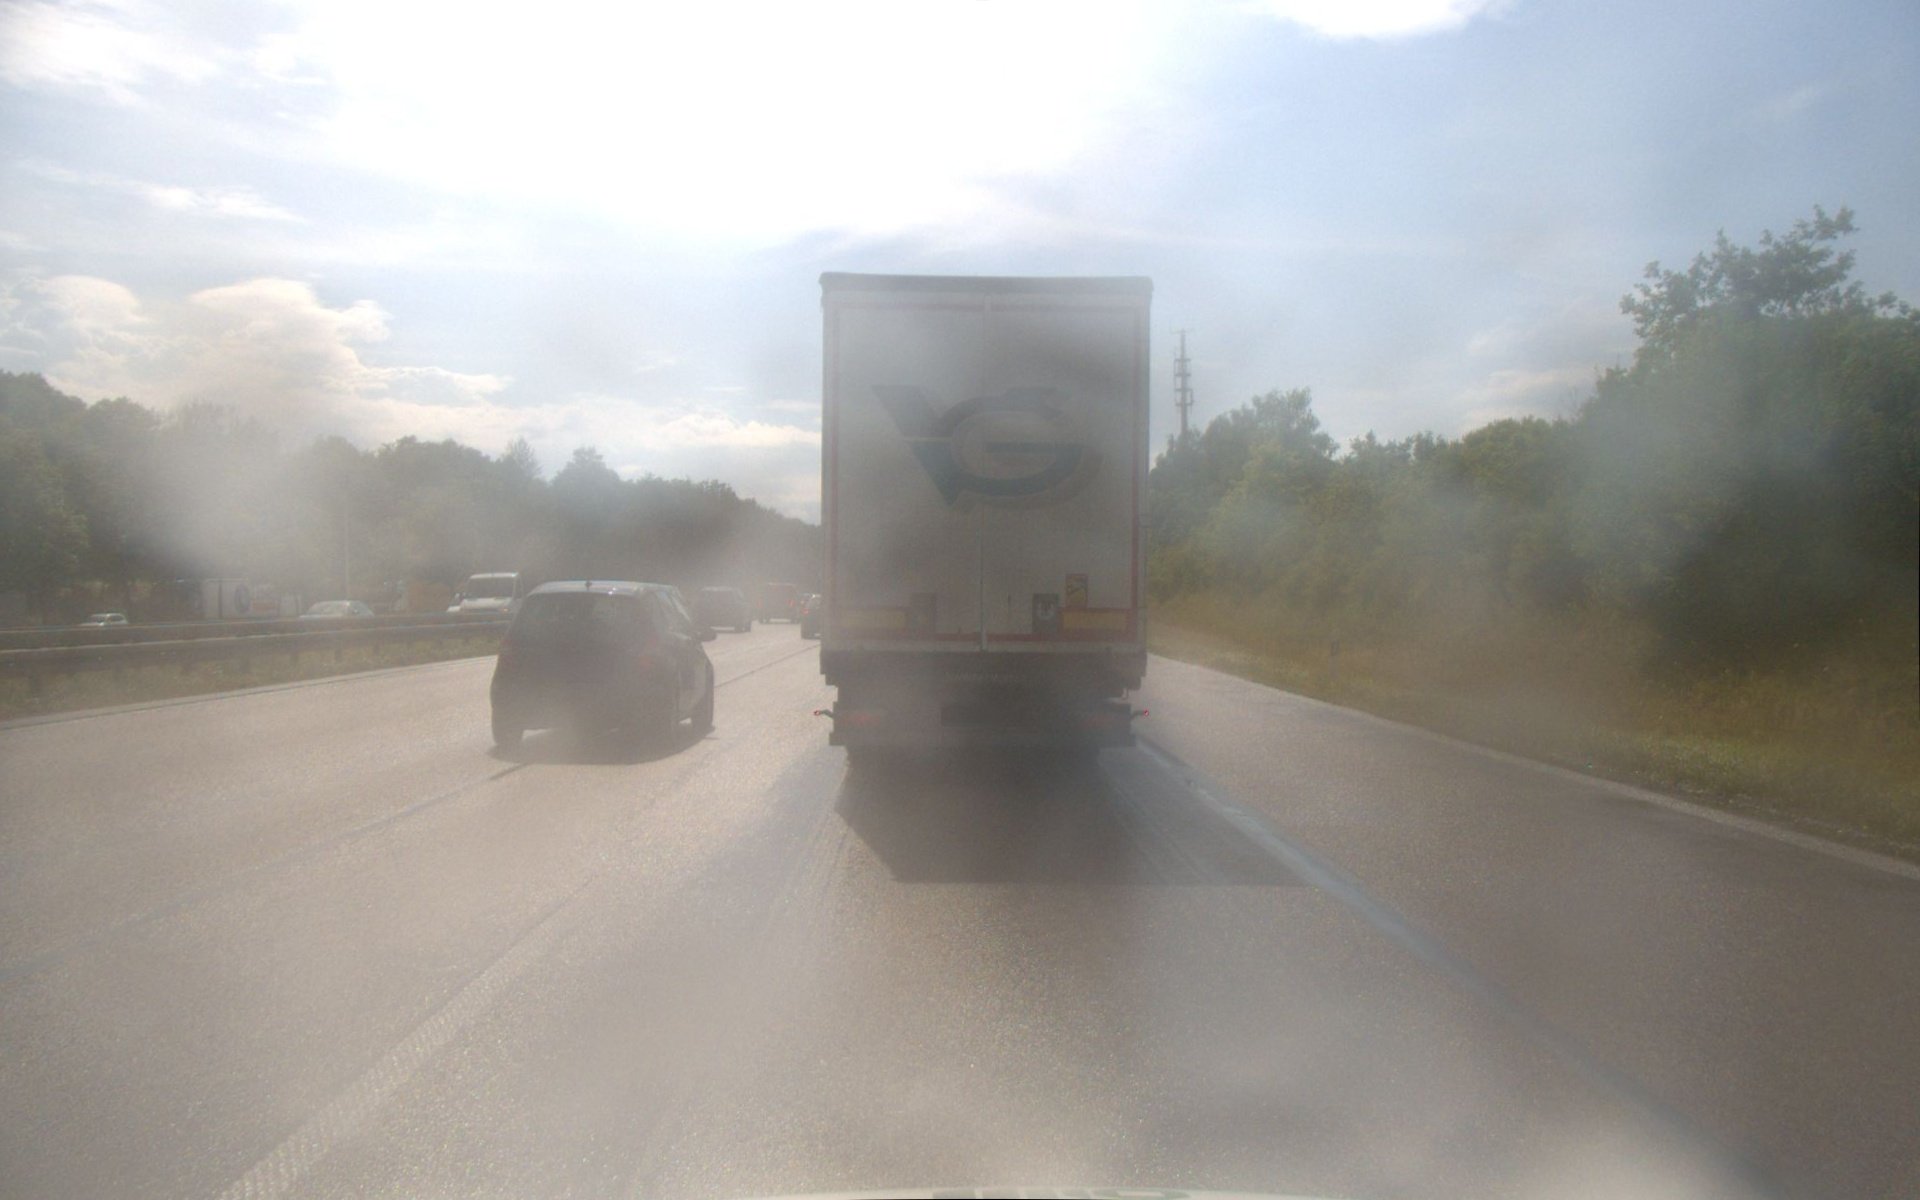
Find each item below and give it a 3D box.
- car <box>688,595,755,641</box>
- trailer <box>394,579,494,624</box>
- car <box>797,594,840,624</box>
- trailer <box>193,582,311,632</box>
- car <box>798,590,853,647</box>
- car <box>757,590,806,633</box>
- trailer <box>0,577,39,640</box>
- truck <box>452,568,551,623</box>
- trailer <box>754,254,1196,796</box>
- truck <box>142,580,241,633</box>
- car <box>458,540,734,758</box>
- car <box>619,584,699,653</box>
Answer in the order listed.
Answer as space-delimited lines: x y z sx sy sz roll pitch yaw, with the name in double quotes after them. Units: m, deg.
-9.050 0.642 63.179 1.869 1.665 4.617 -1 0 0 "car"
-49.643 0.178 159.594 3.707 4.189 11.735 1 0 13 "trailer"
-7.884 0.484 92.614 1.953 1.592 4.756 1 0 0 "car"
-55.320 0.503 129.627 3.708 3.712 10.505 -1 0 7 "trailer"
-4.575 0.616 56.597 1.658 1.836 3.974 1 0 -2 "car"
-8.947 0.562 83.232 1.938 2.090 4.756 1 0 0 "car"
-58.607 0.534 95.082 3.711 3.712 13.346 -1 0 0 "trailer"
-17.090 -0.146 61.919 2.211 1.928 5.445 1 0 -1 "truck"
-0.033 -0.584 19.400 3.217 3.967 14.125 1 0 -1 "trailer"
-56.189 0.503 121.153 3.708 3.724 6.709 1 0 5 "truck"
-3.696 0.464 17.745 2.230 1.989 4.816 1 0 -5 "car"
-8.508 0.508 46.982 1.658 1.836 3.974 1 0 -2 "car"
